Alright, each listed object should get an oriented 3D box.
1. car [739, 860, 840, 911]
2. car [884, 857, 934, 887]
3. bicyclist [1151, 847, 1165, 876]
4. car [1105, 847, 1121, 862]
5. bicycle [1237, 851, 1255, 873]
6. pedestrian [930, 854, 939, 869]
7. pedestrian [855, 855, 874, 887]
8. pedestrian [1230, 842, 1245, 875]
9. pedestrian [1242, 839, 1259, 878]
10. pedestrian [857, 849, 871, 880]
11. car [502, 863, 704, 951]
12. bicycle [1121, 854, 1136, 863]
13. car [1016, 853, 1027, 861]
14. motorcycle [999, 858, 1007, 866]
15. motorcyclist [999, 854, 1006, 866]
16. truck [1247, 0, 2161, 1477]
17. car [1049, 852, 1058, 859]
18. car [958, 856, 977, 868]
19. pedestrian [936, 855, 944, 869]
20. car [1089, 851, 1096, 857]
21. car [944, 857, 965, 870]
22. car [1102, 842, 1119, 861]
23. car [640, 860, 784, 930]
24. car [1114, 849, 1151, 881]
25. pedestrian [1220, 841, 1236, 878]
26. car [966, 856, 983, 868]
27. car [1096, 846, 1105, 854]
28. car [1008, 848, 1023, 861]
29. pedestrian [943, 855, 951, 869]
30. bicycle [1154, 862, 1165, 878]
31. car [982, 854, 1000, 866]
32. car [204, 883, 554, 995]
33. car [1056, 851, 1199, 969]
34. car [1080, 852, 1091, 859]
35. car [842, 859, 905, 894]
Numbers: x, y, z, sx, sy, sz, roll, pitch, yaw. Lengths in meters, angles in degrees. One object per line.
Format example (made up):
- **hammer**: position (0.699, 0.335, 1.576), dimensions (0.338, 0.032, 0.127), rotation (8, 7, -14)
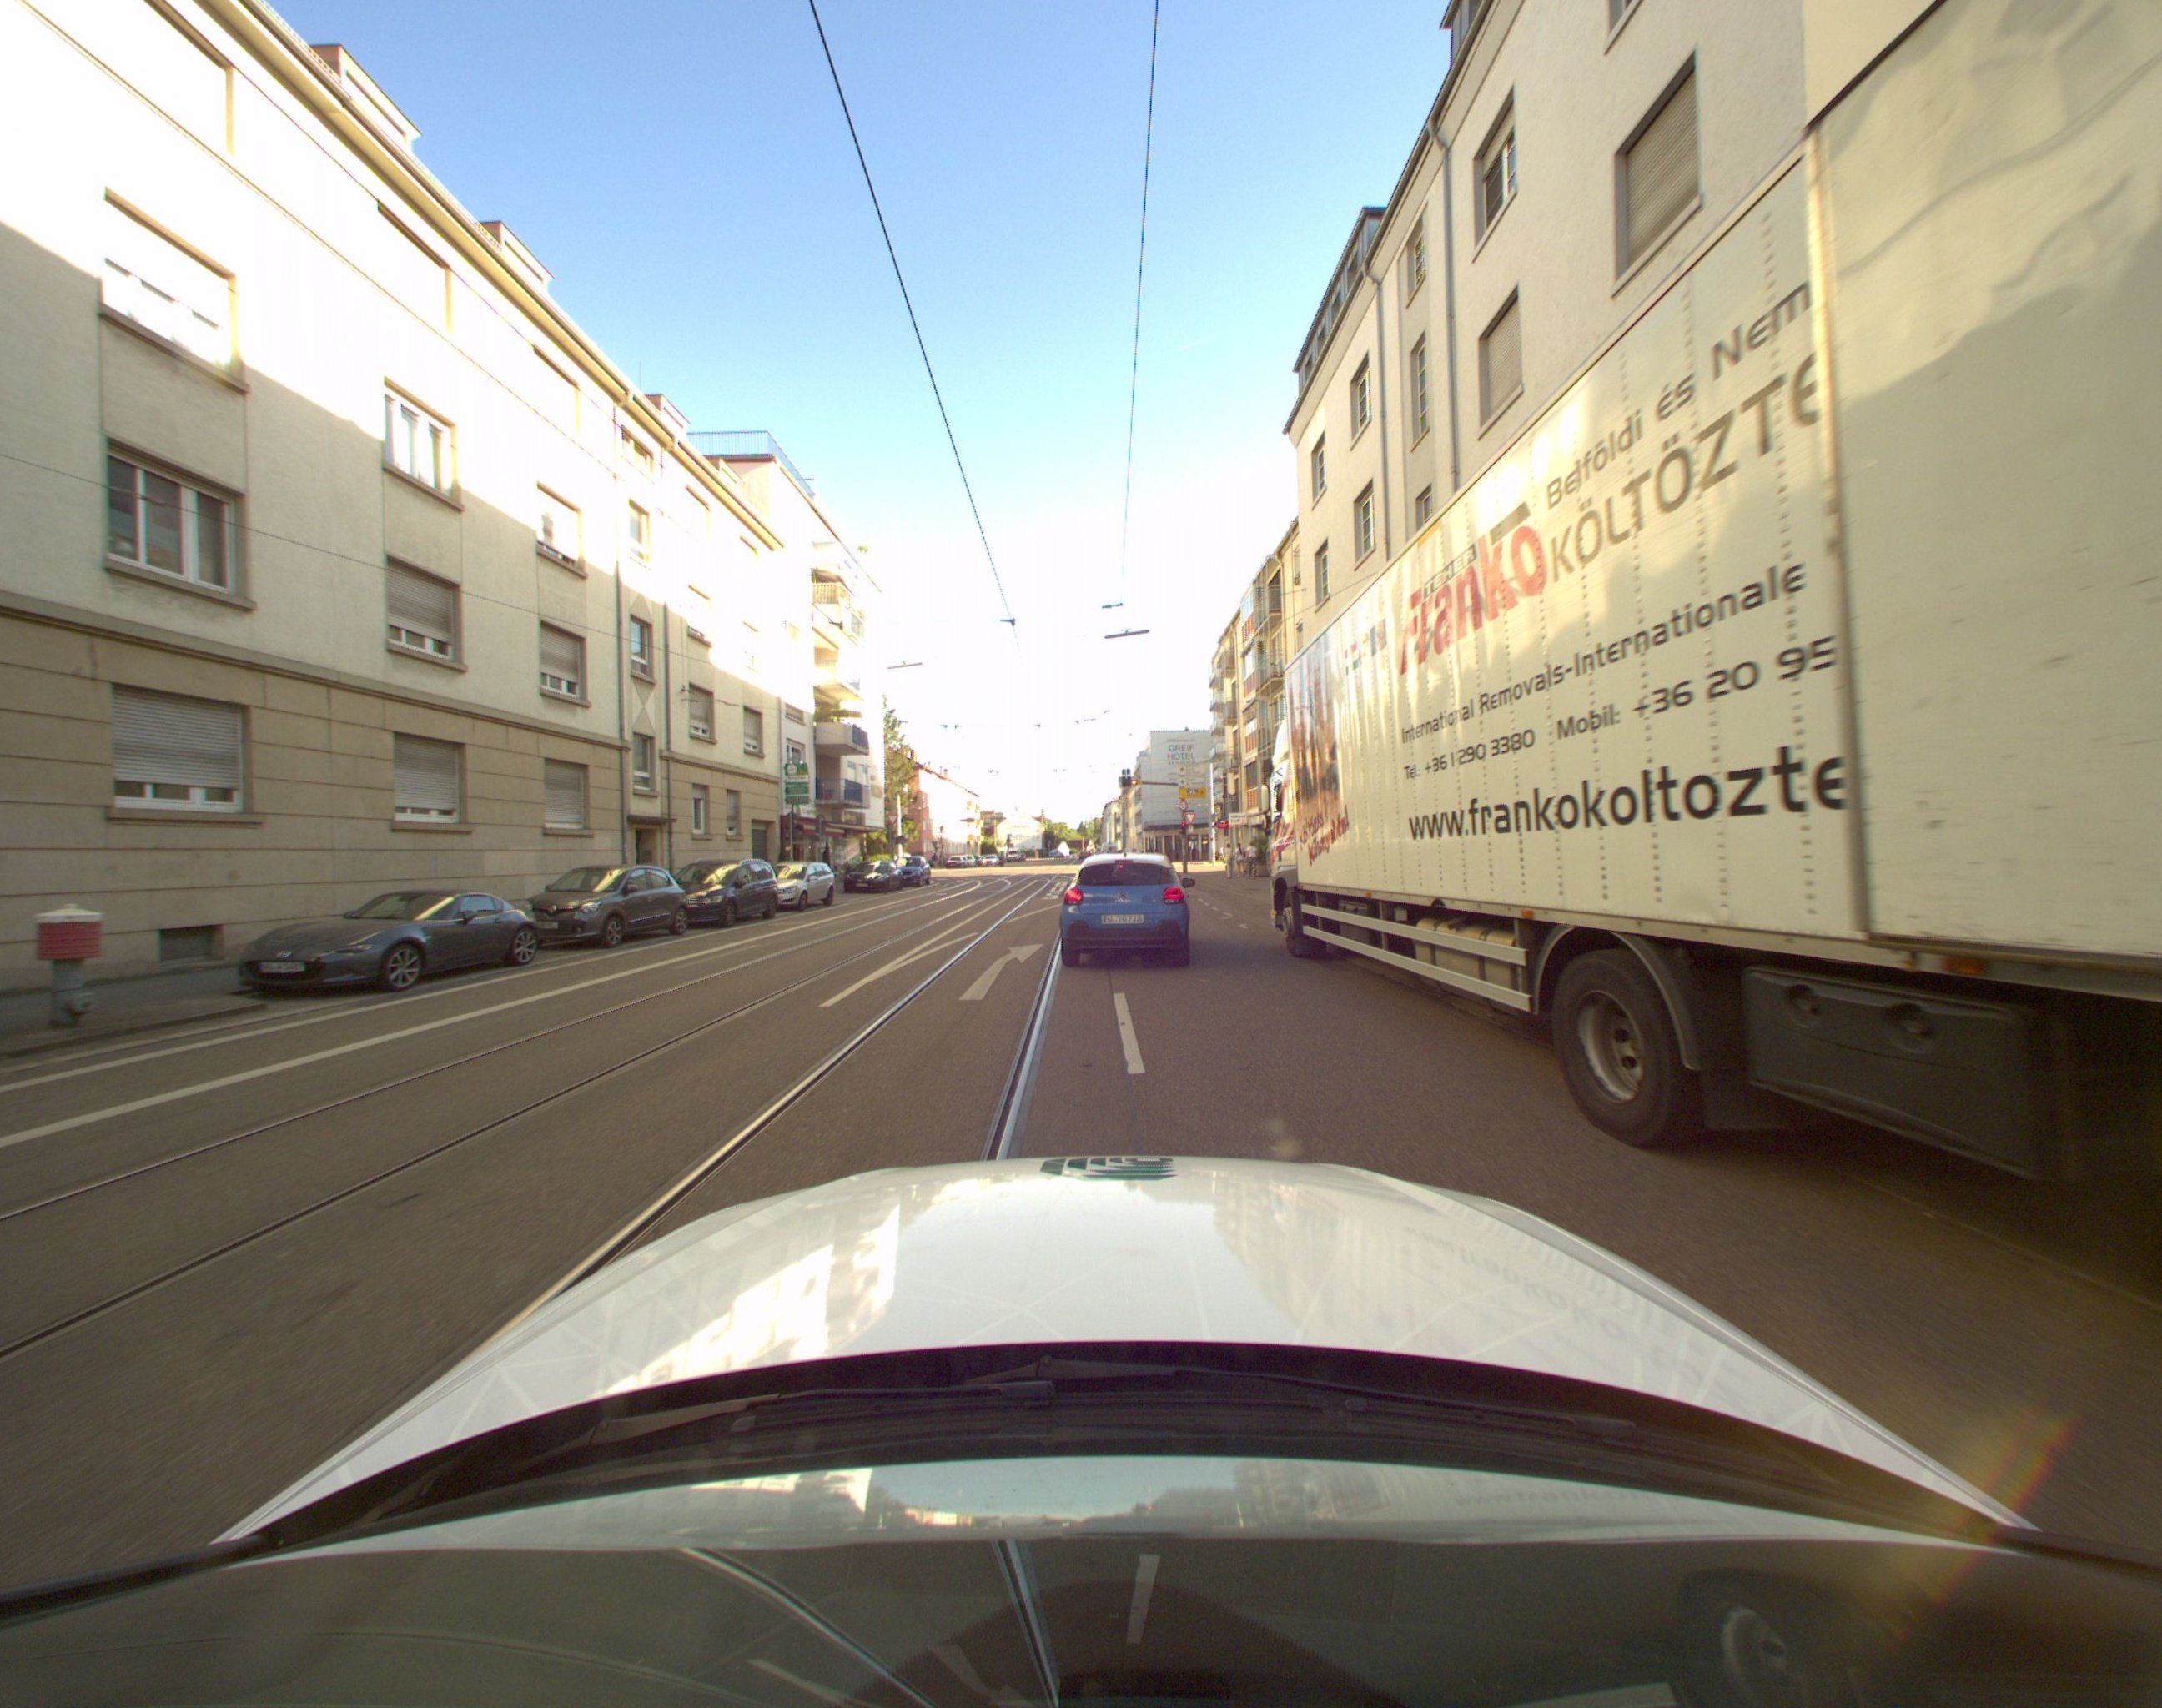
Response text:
- **car**: position (-9.370, 0.950, 26.549), dimensions (1.694, 1.509, 4.385), rotation (0, 0, 0)
- **car**: position (-9.004, 0.926, 42.867), dimensions (1.738, 1.509, 4.000), rotation (0, 0, 1)
- **bicyclist**: position (4.429, 0.417, 46.602), dimensions (0.723, 1.646, 0.791), rotation (-2, 0, 3)
- **car**: position (3.666, 0.037, 94.157), dimensions (1.726, 1.750, 3.213), rotation (-1, 0, 0)
- **bicycle**: position (8.579, 0.402, 42.436), dimensions (0.528, 1.072, 1.811), rotation (-2, 0, 0)
- **pedestrian**: position (-17.228, 0.885, 95.521), dimensions (0.839, 1.690, 0.738), rotation (-1, 0, 6)
- **pedestrian**: position (-10.937, 0.848, 41.197), dimensions (0.694, 1.548, 0.722), rotation (-2, 1, 3)
- **pedestrian**: position (7.576, 0.211, 39.486), dimensions (0.539, 1.507, 0.611), rotation (-4, 1, 1)
- **pedestrian**: position (7.452, 0.191, 35.793), dimensions (0.539, 1.672, 0.650), rotation (-4, 0, 1)
- **pedestrian**: position (-14.086, 0.689, 52.853), dimensions (0.685, 2.013, 0.486), rotation (-1, 0, -3)
- **car**: position (-9.493, 0.969, 16.610), dimensions (1.693, 1.569, 4.000), rotation (0, 0, 1)
- **bicycle**: position (5.534, 0.511, 94.941), dimensions (1.712, 0.957, 0.703), rotation (-2, 0, 5)
- **car**: position (-12.588, 0.641, 172.159), dimensions (2.015, 1.525, 3.999), rotation (-1, 0, 0)
- **motorcycle**: position (-9.094, 0.958, 94.596), dimensions (0.613, 0.864, 1.672), rotation (-2, 0, 4)
- **motorcyclist**: position (-9.102, 0.671, 94.441), dimensions (0.716, 1.378, 0.912), rotation (-2, 0, 4)
- **truck**: position (3.998, -0.691, 7.283), dimensions (2.849, 4.073, 11.783), rotation (-2, 0, 2)
- **car**: position (-6.641, 0.292, 196.843), dimensions (2.015, 1.525, 3.999), rotation (-1, 0, 0)
- **car**: position (-14.835, 1.053, 106.833), dimensions (1.905, 1.497, 3.999), rotation (-2, 0, -1)
- **pedestrian**: position (-17.677, 0.984, 102.009), dimensions (0.839, 1.690, 0.738), rotation (-1, 0, 6)
- **car**: position (3.679, -0.038, 257.989), dimensions (1.985, 1.794, 4.004), rotation (-1, 0, 3)
- **car**: position (-14.983, 1.087, 96.465), dimensions (1.906, 1.433, 3.997), rotation (-2, 0, -2)
- **car**: position (3.535, -0.296, 99.092), dimensions (1.987, 2.325, 4.000), rotation (-1, 0, 0)
- **car**: position (-9.273, 0.954, 20.902), dimensions (1.693, 1.615, 4.244), rotation (0, 0, 1)
- **car**: position (2.533, 0.504, 40.221), dimensions (1.731, 1.420, 4.004), rotation (-1, 0, 3)
- **pedestrian**: position (6.804, 0.253, 37.780), dimensions (0.539, 1.672, 0.624), rotation (-4, 1, 1)
- **car**: position (-14.859, 1.127, 113.632), dimensions (1.905, 1.497, 3.999), rotation (-2, 0, -1)
- **car**: position (3.823, -0.765, 158.073), dimensions (1.683, 1.618, 4.001), rotation (-1, 0, 1)
- **car**: position (-11.740, 0.066, 146.852), dimensions (2.200, 2.251, 4.676), rotation (-2, 0, 0)
- **pedestrian**: position (-16.796, 0.974, 102.071), dimensions (0.839, 1.690, 0.738), rotation (-1, 0, 6)
- **bicycle**: position (4.498, 0.897, 46.823), dimensions (0.497, 0.864, 1.749), rotation (-2, 0, 1)
- **car**: position (-12.042, 0.812, 108.721), dimensions (1.844, 1.574, 4.400), rotation (-1, 0, 0)
- **car**: position (-9.578, 1.083, 11.591), dimensions (1.694, 1.216, 3.784), rotation (0, 0, -1)
- **car**: position (0.525, 0.688, 12.173), dimensions (1.739, 1.462, 3.996), rotation (0, 0, -2)
- **car**: position (0.795, 0.267, 148.536), dimensions (1.751, 1.259, 3.827), rotation (-1, 0, -3)
- **car**: position (-9.315, 0.980, 36.913), dimensions (1.693, 1.509, 4.312), rotation (0, 0, 1)
